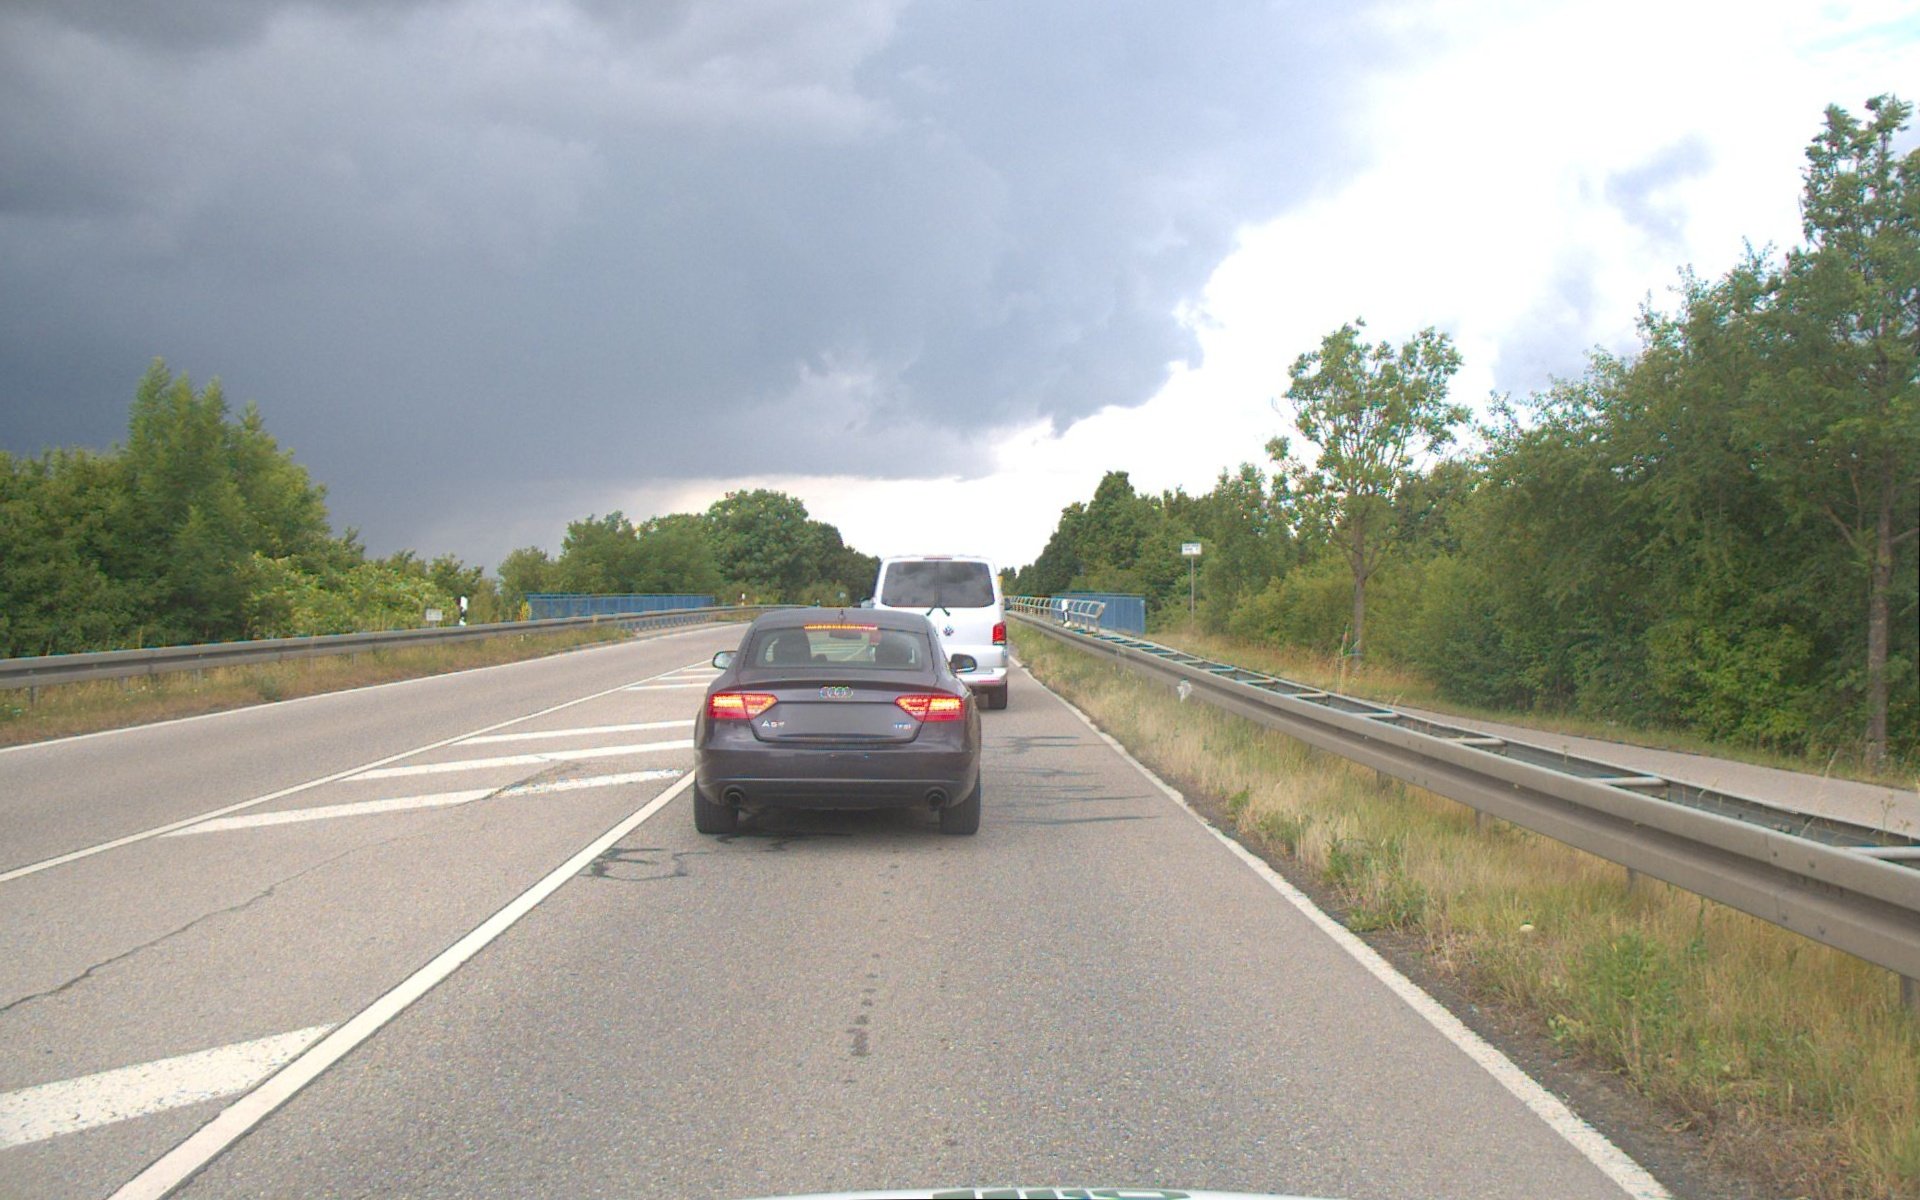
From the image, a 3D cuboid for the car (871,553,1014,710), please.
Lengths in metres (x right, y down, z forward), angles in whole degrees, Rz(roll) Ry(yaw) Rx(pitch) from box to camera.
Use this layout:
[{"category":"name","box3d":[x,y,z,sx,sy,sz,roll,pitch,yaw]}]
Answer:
[{"category":"car","box3d":[-0.257,0.402,22.498,1.749,1.923,3.999,1,0,-1]}]

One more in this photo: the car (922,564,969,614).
[{"category":"car","box3d":[-0.781,-0.598,89.101,2.397,2.548,5.040,1,0,-1]}]

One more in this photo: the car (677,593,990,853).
[{"category":"car","box3d":[-0.748,0.706,11.341,1.749,1.448,3.999,1,0,-1]}]
